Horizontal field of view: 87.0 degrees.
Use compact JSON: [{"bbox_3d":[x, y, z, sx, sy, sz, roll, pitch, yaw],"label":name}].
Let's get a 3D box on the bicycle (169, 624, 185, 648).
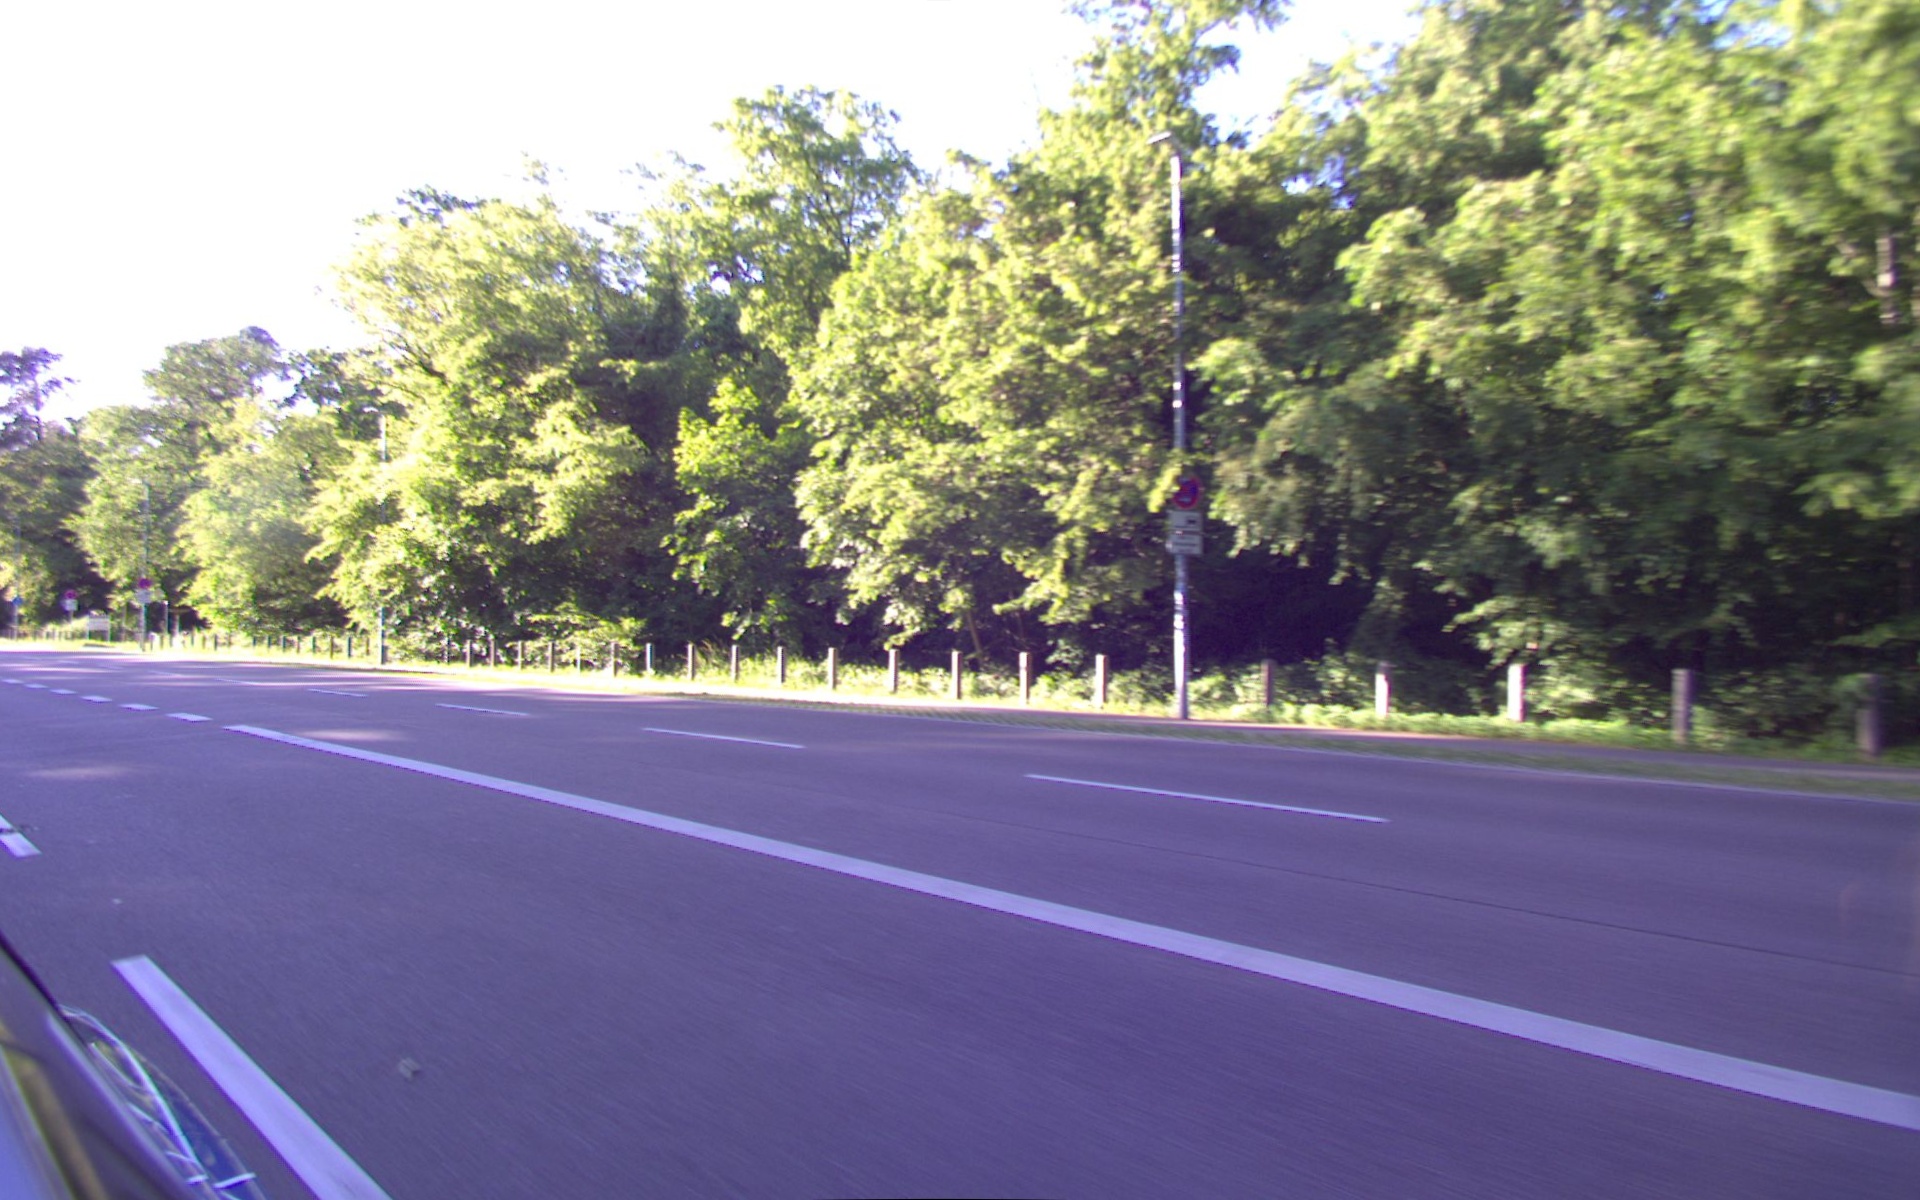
[{"bbox_3d":[-38.706,1.757,49.991,0.396,1.140,2.222,-1,1,-43],"label":"bicycle"}]
